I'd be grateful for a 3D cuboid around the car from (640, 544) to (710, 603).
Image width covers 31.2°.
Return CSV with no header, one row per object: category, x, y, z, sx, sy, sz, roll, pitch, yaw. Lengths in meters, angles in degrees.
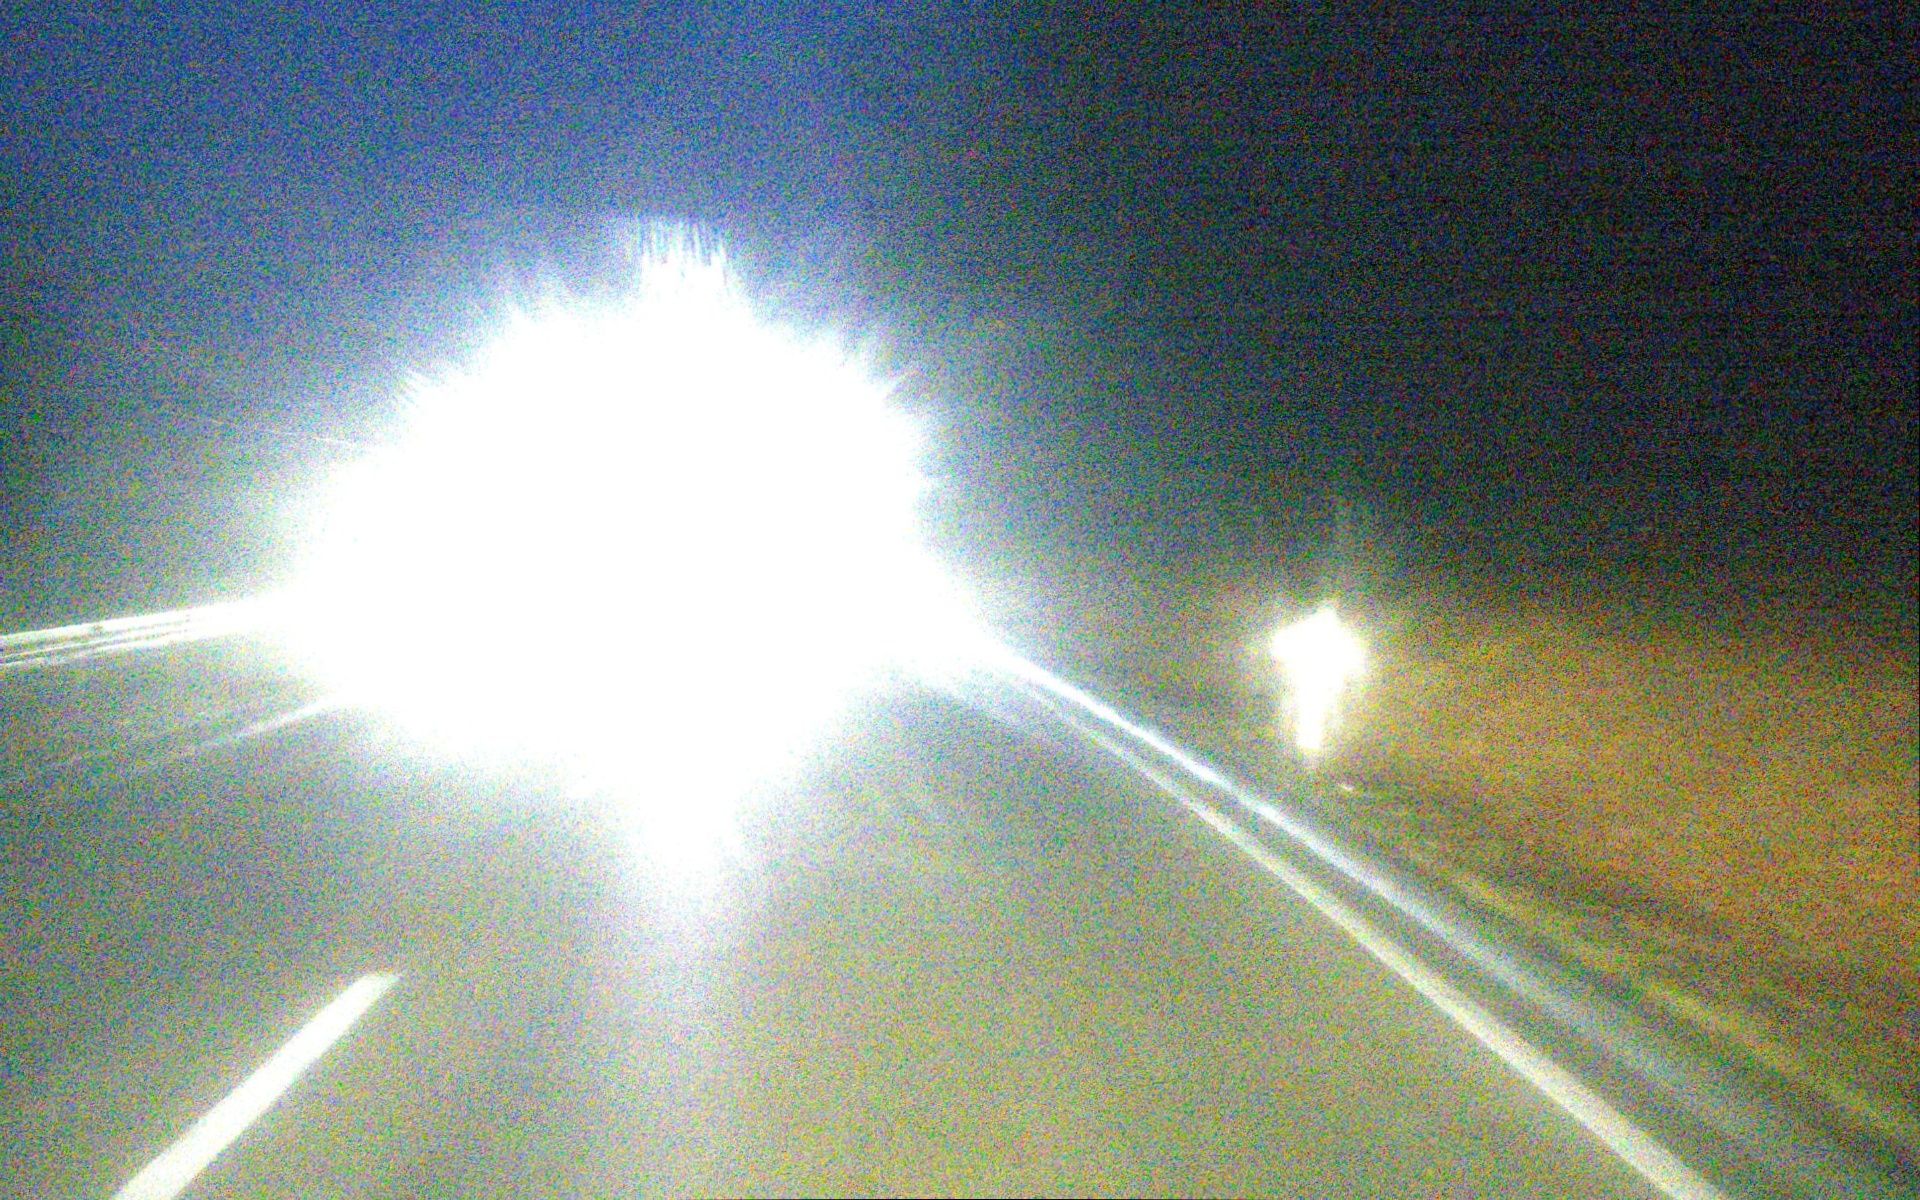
car,-7.971,-0.750,96.401,1.829,1.562,3.780,2,1,-3
